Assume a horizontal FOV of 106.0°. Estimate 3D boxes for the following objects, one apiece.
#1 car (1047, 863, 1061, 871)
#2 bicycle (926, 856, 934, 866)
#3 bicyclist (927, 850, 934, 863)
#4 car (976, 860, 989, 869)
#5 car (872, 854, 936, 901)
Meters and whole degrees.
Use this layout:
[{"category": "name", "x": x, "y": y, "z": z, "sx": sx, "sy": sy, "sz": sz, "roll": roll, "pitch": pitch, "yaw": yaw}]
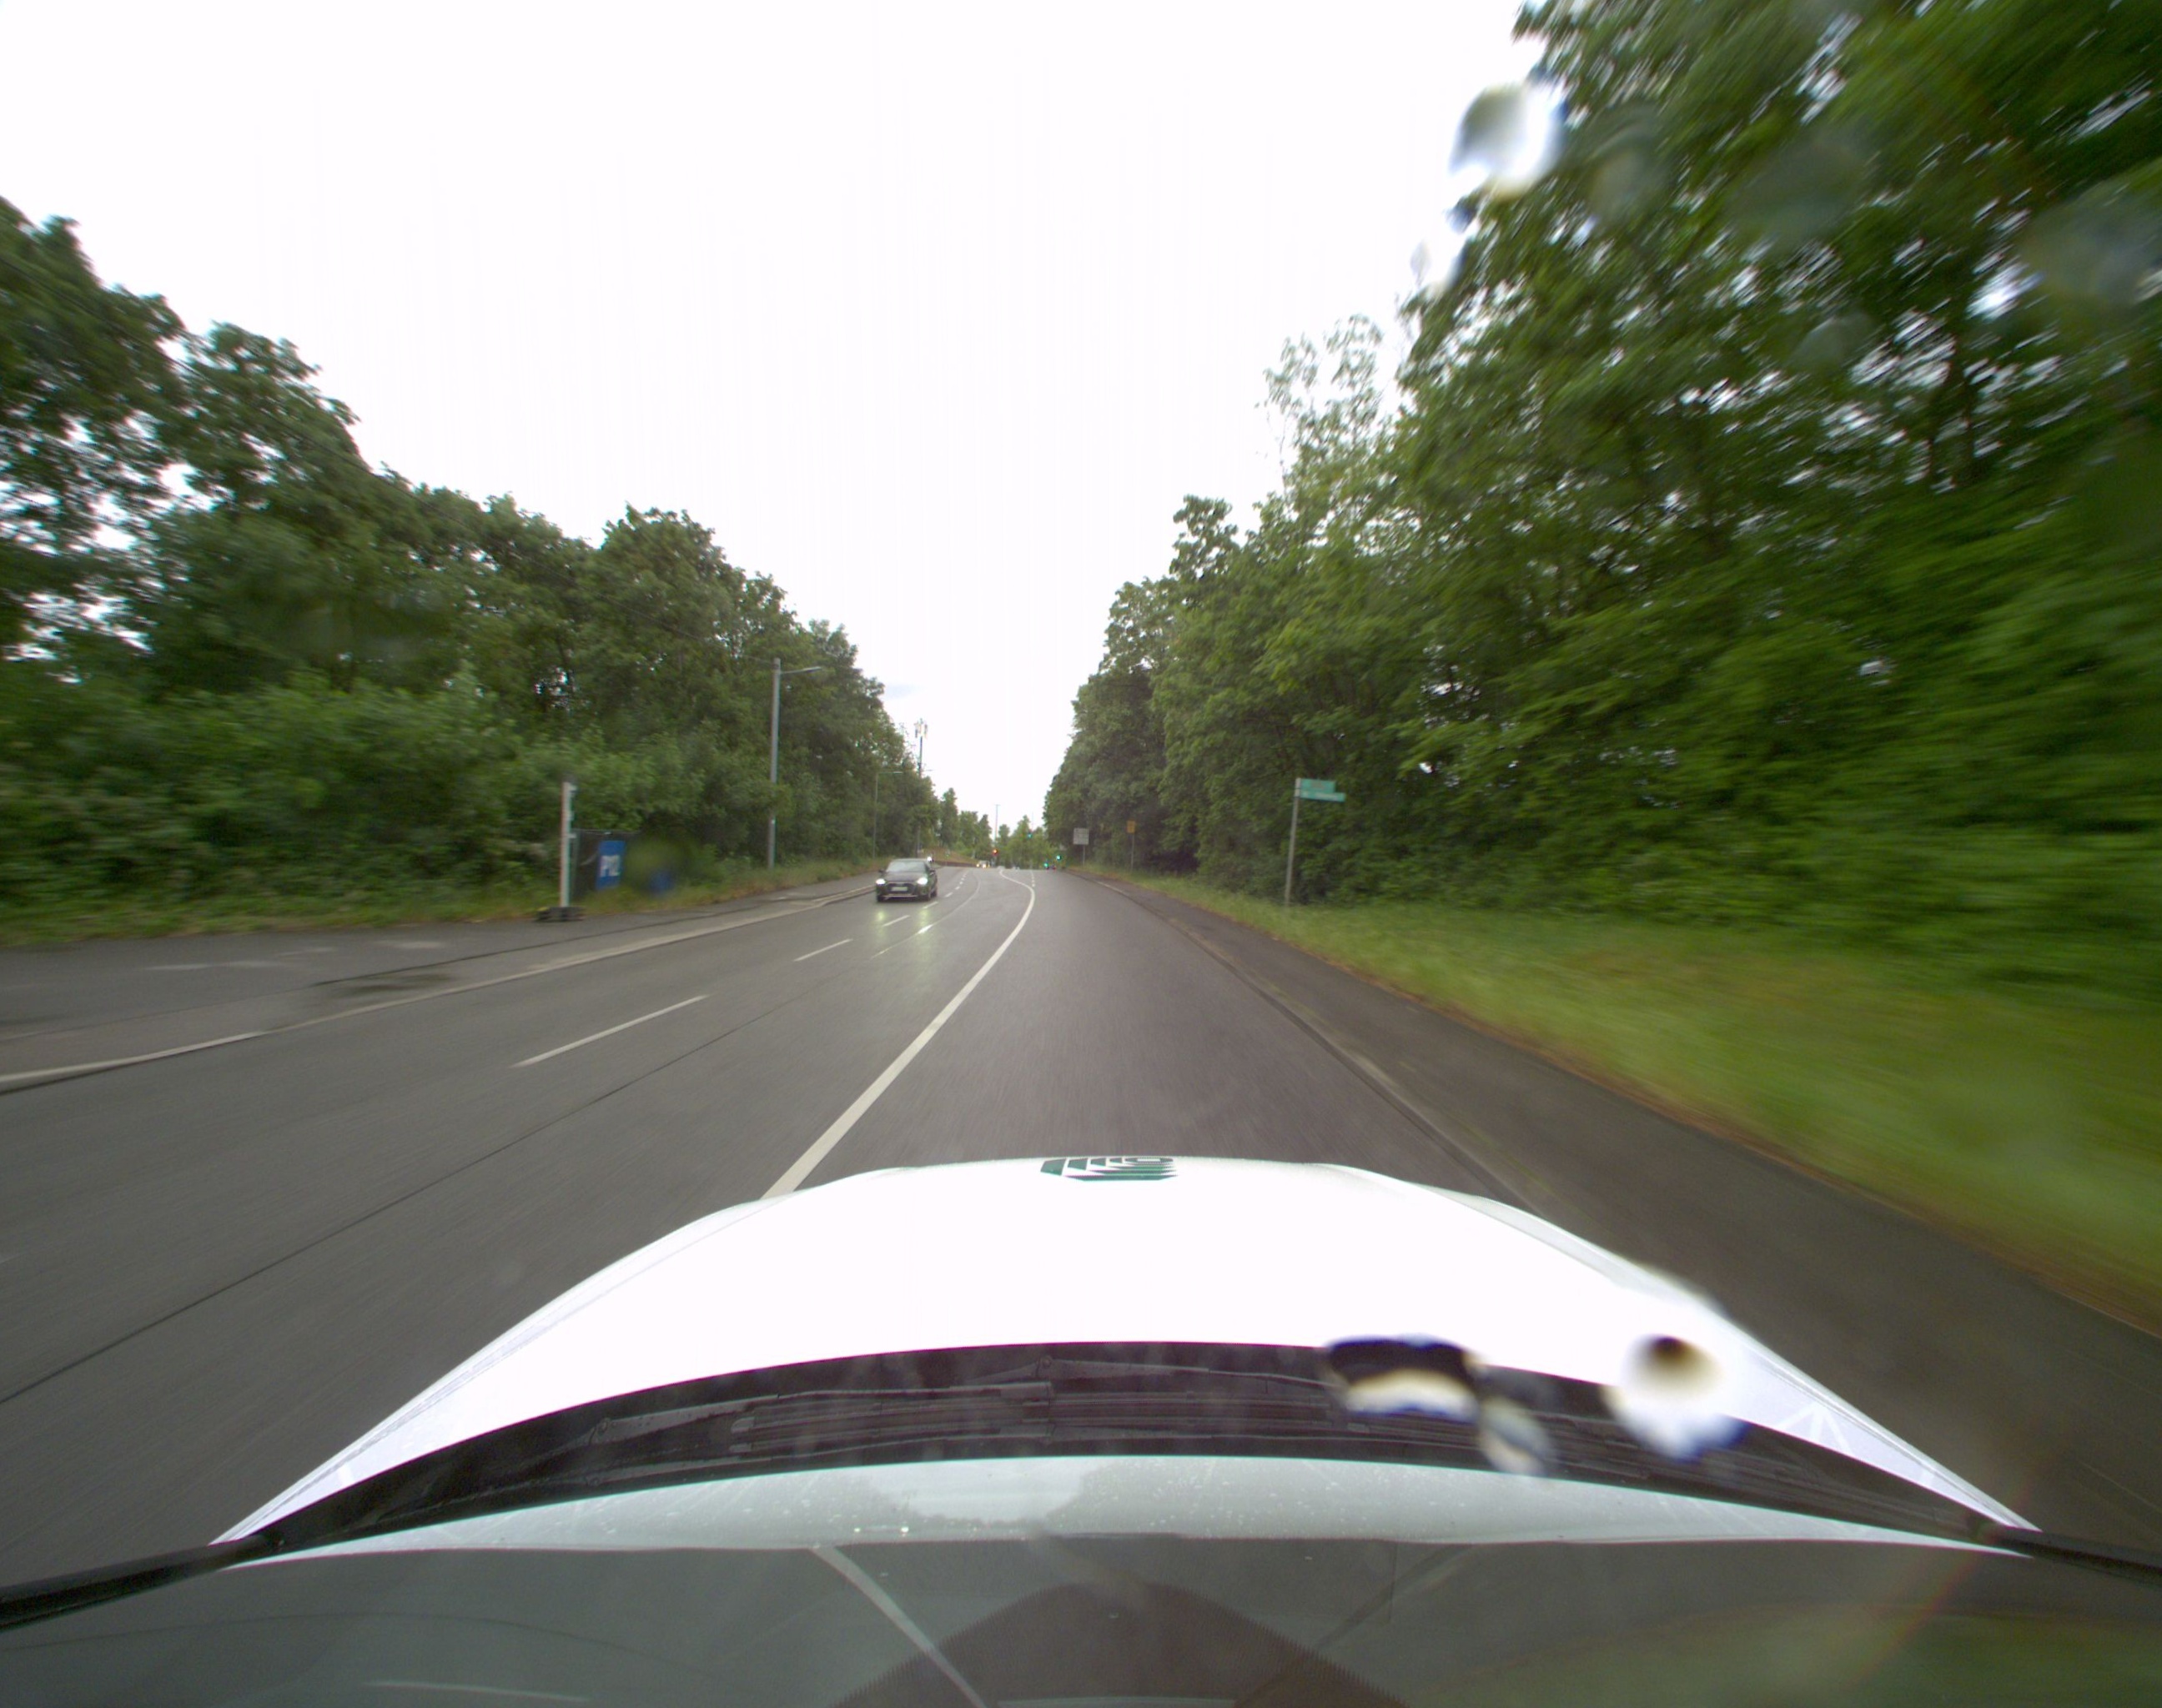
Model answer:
[{"category": "car", "x": -5.217, "y": 2.460, "z": 159.685, "sx": 1.924, "sy": 1.498, "sz": 4.328, "roll": 0, "pitch": 0, "yaw": 8}, {"category": "bicycle", "x": -18.904, "y": 0.902, "z": 102.117, "sx": 0.703, "sy": 1.242, "sz": 2.162, "roll": 0, "pitch": 0, "yaw": -2}, {"category": "bicyclist", "x": -18.895, "y": 0.345, "z": 102.124, "sx": 0.703, "sy": 1.644, "sz": 0.950, "roll": 0, "pitch": 0, "yaw": -3}, {"category": "car", "x": -20.007, "y": 2.140, "z": 165.649, "sx": 1.986, "sy": 1.849, "sz": 4.000, "roll": -1, "pitch": -2, "yaw": 1}, {"category": "car", "x": -6.158, "y": 0.768, "z": 28.797, "sx": 1.934, "sy": 1.498, "sz": 4.305, "roll": 0, "pitch": 0, "yaw": -9}]
